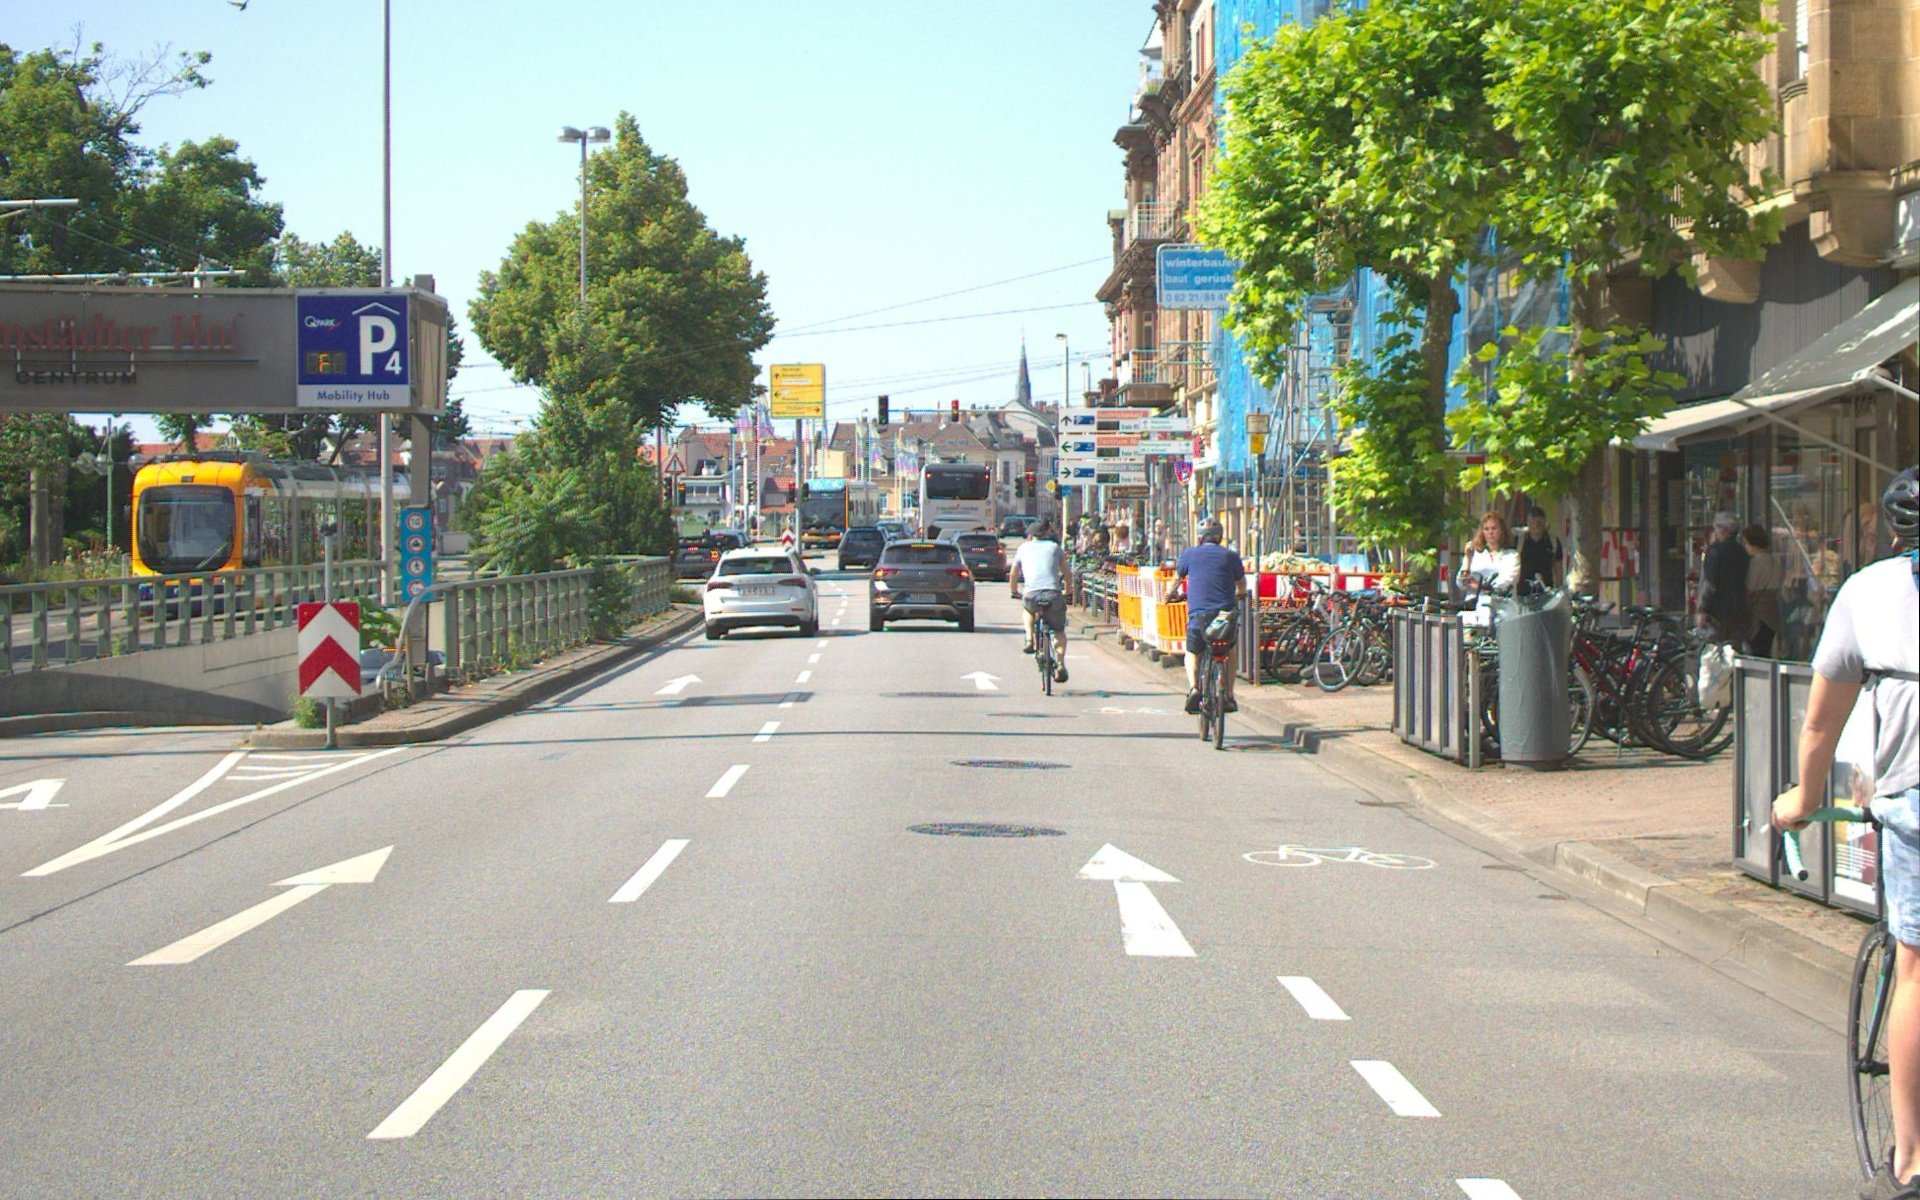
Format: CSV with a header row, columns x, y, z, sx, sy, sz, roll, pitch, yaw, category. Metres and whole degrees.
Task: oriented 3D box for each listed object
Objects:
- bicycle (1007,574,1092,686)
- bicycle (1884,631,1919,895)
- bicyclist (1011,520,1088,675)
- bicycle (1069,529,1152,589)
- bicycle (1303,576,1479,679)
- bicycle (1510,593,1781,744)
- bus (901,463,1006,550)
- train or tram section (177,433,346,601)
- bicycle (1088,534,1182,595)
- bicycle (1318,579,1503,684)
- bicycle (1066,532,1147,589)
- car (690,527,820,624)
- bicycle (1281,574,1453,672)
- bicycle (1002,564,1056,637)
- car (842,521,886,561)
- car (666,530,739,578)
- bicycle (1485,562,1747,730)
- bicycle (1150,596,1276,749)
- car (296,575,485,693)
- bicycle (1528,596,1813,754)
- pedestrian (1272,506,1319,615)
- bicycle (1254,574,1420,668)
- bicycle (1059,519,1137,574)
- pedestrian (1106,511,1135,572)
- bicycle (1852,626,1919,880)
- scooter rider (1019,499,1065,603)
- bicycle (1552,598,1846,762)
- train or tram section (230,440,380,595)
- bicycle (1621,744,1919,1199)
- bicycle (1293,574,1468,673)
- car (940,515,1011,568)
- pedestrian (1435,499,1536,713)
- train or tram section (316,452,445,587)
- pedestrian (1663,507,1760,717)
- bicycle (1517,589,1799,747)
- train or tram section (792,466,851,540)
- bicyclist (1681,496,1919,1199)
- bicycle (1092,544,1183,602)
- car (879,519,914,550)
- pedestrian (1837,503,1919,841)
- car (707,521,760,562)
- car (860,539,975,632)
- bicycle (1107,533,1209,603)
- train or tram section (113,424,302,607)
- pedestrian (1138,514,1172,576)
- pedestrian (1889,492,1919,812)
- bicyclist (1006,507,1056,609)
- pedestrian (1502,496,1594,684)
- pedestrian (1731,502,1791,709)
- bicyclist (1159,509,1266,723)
x,y,z,sx,sy,sz,roll,pitch,yaw,category
0.924,0.301,35.801,0.734,1.089,1.898,1,1,-2,bicycle
4.611,0.637,13.653,1.752,1.014,0.483,0,1,-2,bicycle
0.924,-0.037,35.805,0.688,1.571,1.049,1,1,-2,bicyclist
3.136,-0.860,71.640,1.693,1.236,0.608,1,1,0,bicycle
4.374,0.274,34.848,1.752,1.014,0.483,0,1,-21,bicycle
4.729,0.467,23.783,1.752,1.014,0.557,0,1,-2,bicycle
-0.292,-3.152,116.869,2.968,2.767,8.643,1,1,-4,bus
-15.689,-1.865,77.571,2.613,3.569,6.104,1,1,-1,train or tram section
3.417,-0.696,67.201,1.771,1.174,0.608,1,1,0,bicycle
4.436,0.309,33.919,1.752,1.014,0.483,0,1,-2,bicycle
3.097,-0.836,72.798,1.693,1.174,0.491,1,1,0,bicycle
-3.345,-0.433,56.746,1.858,1.502,4.000,2,1,0,car
4.295,0.237,36.319,1.752,1.014,0.483,0,1,-2,bicycle
1.085,-0.003,54.502,0.734,1.089,1.898,1,1,-1,bicycle
-3.254,-2.015,116.442,1.451,1.296,3.342,1,1,-2,car
-7.532,-1.351,100.857,1.815,1.327,4.000,2,1,0,car
4.677,0.320,24.567,1.752,1.177,0.579,0,1,-2,bicycle
1.942,0.544,26.640,0.734,1.089,1.911,1,1,-2,bicycle
-8.064,0.452,49.036,1.993,1.503,4.000,2,1,0,car
4.641,0.485,22.499,1.752,1.014,0.483,0,1,-2,bicycle
5.505,-0.651,56.428,0.639,1.770,0.649,1,1,-1,pedestrian
4.129,0.224,37.667,1.752,1.014,0.483,0,1,-2,bicycle
3.067,-1.203,76.573,1.693,1.174,0.609,-1,2,0,bicycle
4.283,-1.565,91.736,0.654,1.615,0.815,-1,2,-2,pedestrian
4.621,0.620,14.173,1.752,1.014,0.483,0,1,-2,bicycle
1.385,-0.835,58.060,0.688,1.723,0.778,1,1,-2,scooter rider
4.676,0.502,21.790,1.752,1.014,0.483,0,1,-2,bicycle
-15.814,-1.982,83.304,2.613,3.569,5.357,1,1,-1,train or tram section
2.048,0.929,7.401,0.734,1.089,2.131,1,1,-2,bicycle
4.372,0.243,35.788,1.752,1.014,0.483,0,1,-2,bicycle
0.450,-1.719,100.605,1.993,1.487,4.000,2,1,0,car
4.182,0.046,27.387,0.656,1.677,0.653,0,0,-4,pedestrian
-16.082,-2.236,95.799,2.613,3.569,6.018,1,1,-1,train or tram section
6.108,0.097,27.949,0.535,1.677,0.499,-2,0,-42,pedestrian
4.683,0.451,23.119,1.752,1.014,0.587,-1,1,-2,bicycle
-7.068,-4.889,174.226,2.822,3.569,10.034,1,1,-3,train or tram section
2.056,0.520,7.401,0.688,1.458,1.143,1,1,-2,bicyclist
3.387,-0.519,65.765,1.693,1.083,0.608,1,1,0,bicycle
-2.761,-2.874,150.149,1.451,1.296,3.342,2,1,0,car
4.809,0.330,16.838,0.695,1.620,0.702,-2,1,-17,pedestrian
-7.456,-1.936,113.431,1.451,1.296,4.000,2,1,0,car
-0.697,-0.276,58.720,1.873,1.487,4.000,2,1,0,car
3.374,-0.550,58.712,1.693,1.174,0.608,1,1,0,bicycle
-15.565,-1.741,71.484,2.613,3.569,6.104,1,1,-1,train or tram section
5.315,-1.504,93.751,0.755,1.650,0.837,-4,1,-1,pedestrian
5.162,0.252,17.370,0.599,1.620,0.644,-3,1,-13,pedestrian
1.114,-0.670,54.452,0.688,1.571,1.049,1,1,-2,bicyclist
5.915,-0.106,34.617,0.814,1.842,0.891,-2,1,7,pedestrian
6.582,0.043,28.251,0.381,1.677,0.476,-1,1,21,pedestrian
1.947,0.116,26.611,0.688,1.610,0.918,1,1,-2,bicyclist
